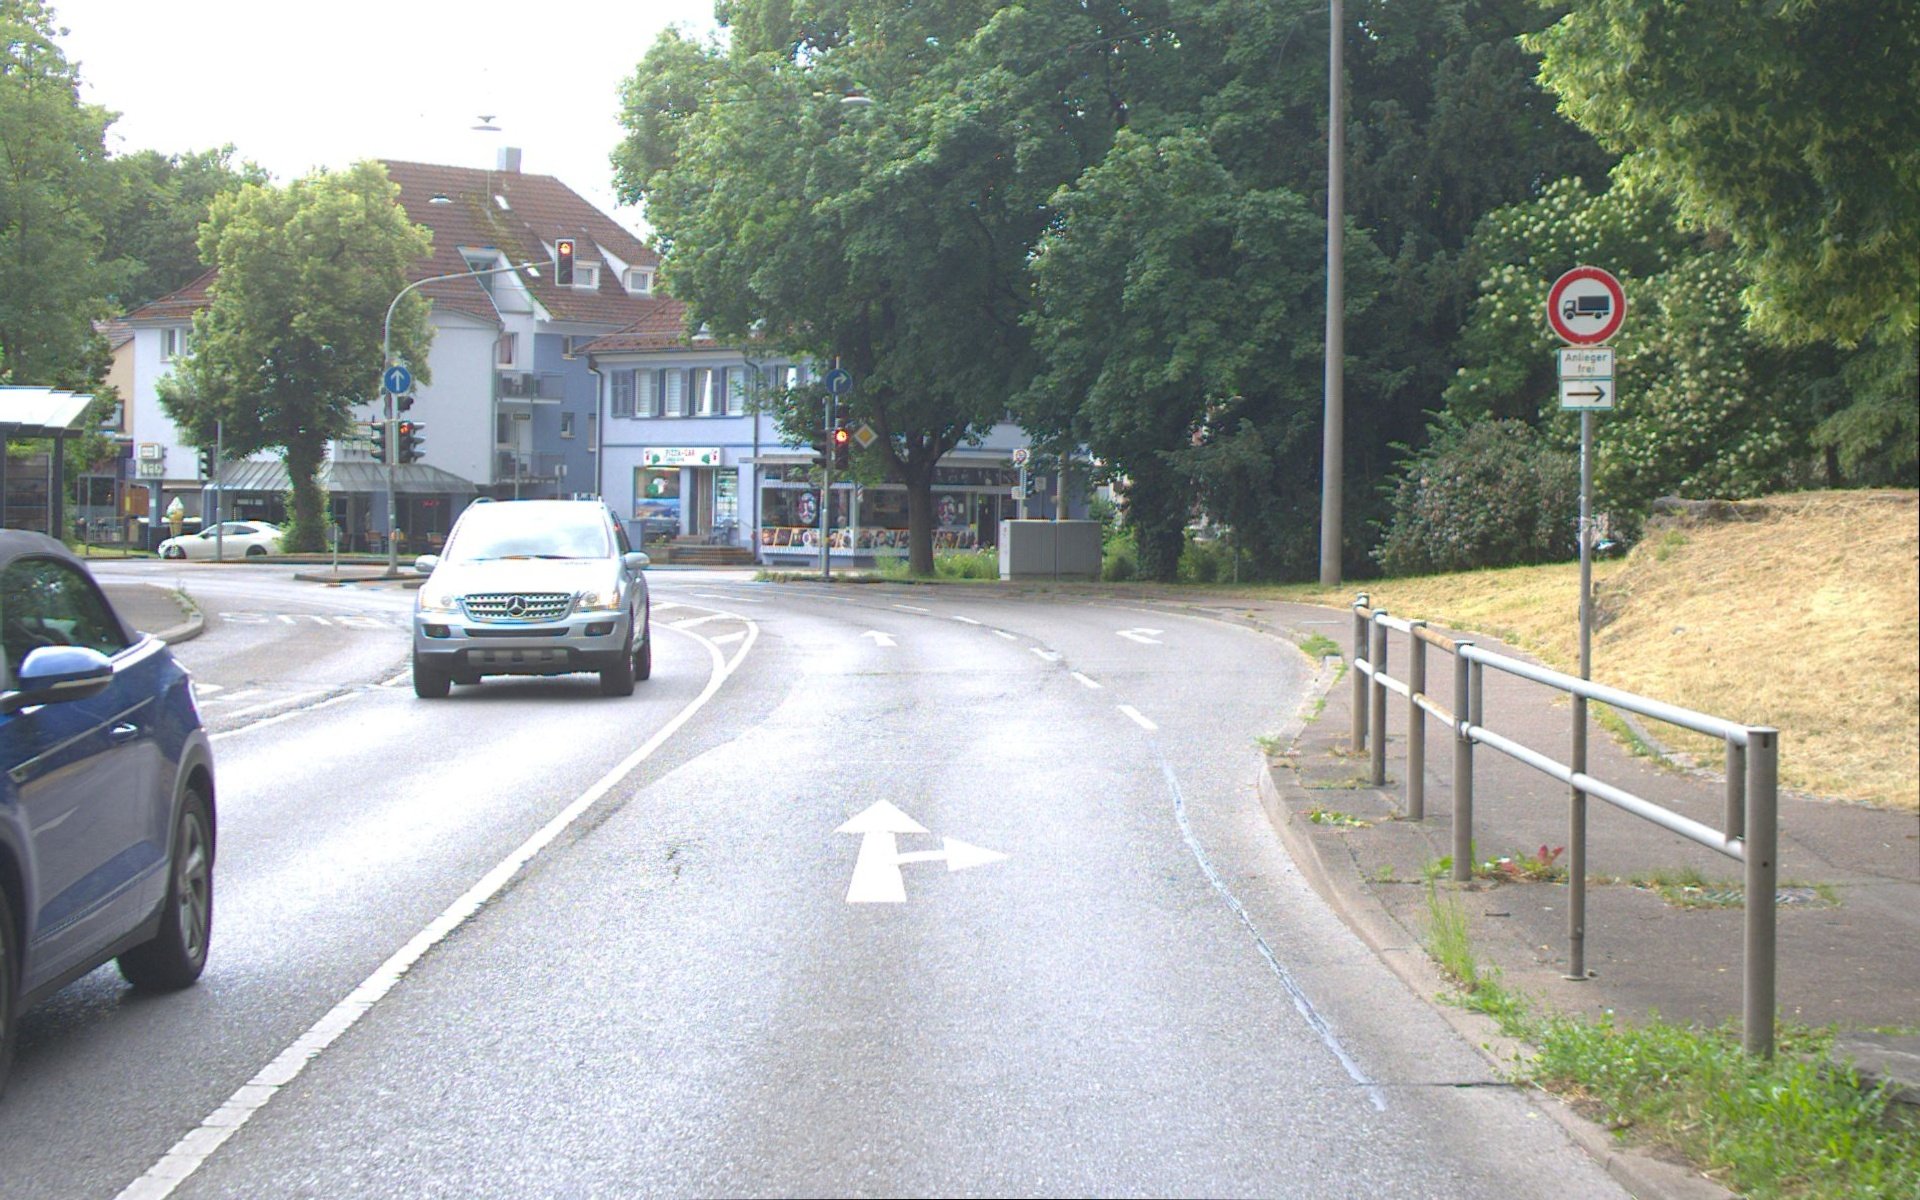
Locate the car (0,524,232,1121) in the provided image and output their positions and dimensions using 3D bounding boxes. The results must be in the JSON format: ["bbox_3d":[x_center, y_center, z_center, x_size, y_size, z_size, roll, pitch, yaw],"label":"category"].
[{"bbox_3d":[-3.300,0.533,9.790,1.716,1.463,4.100,0,2,-2],"label":"car"}]

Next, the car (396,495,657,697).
[{"bbox_3d":[-3.913,-0.094,31.728,1.935,1.718,4.693,0,1,-2],"label":"car"}]

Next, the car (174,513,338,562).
[{"bbox_3d":[-21.892,-1.945,107.005,4.580,1.512,1.999,0,1,14],"label":"car"}]
